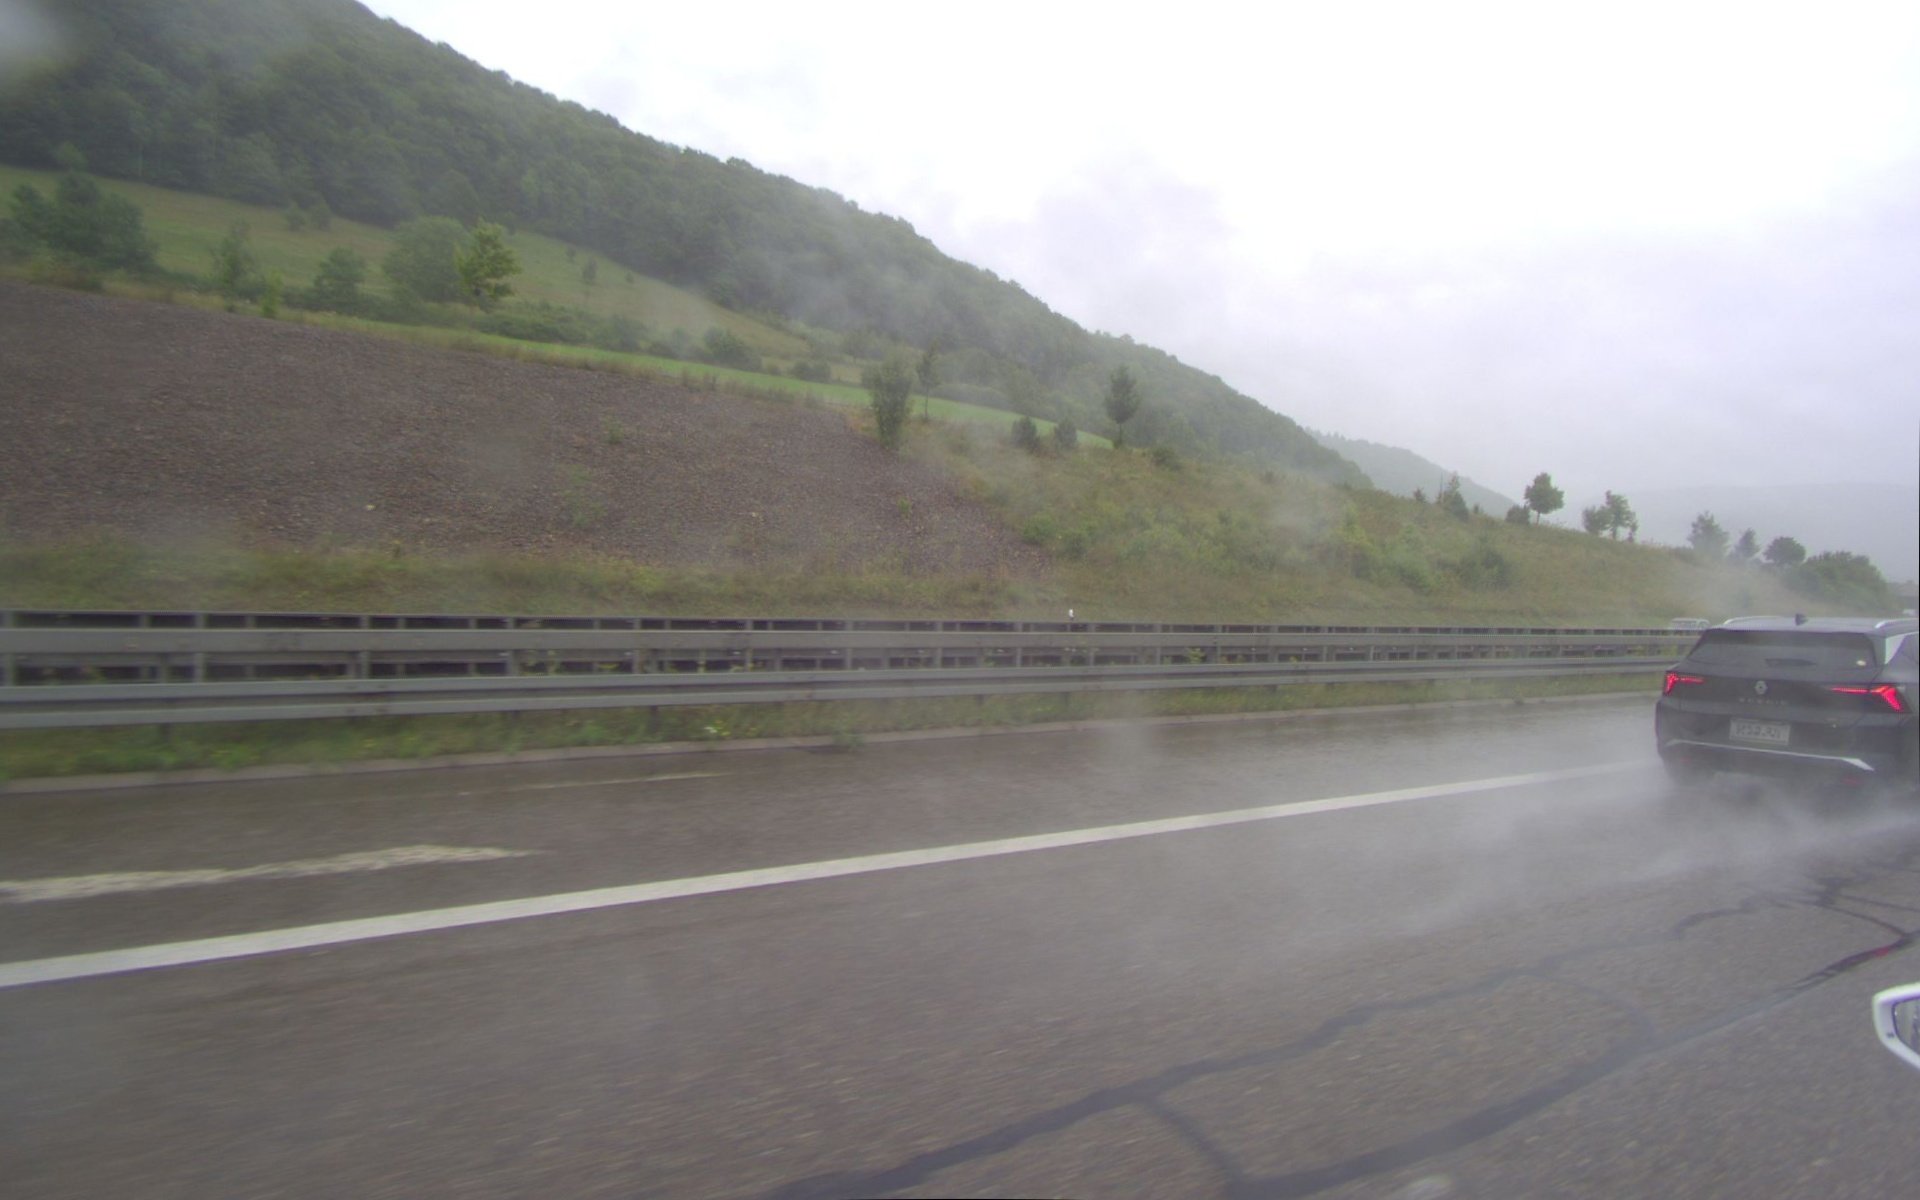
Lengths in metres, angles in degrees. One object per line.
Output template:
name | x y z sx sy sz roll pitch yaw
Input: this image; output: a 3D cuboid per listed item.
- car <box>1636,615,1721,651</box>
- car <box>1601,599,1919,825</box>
car | 31.651 1.443 44.229 3.734 1.439 1.784 1 0 -33
car | 8.206 0.850 9.213 4.739 1.536 2.388 2 1 -37
